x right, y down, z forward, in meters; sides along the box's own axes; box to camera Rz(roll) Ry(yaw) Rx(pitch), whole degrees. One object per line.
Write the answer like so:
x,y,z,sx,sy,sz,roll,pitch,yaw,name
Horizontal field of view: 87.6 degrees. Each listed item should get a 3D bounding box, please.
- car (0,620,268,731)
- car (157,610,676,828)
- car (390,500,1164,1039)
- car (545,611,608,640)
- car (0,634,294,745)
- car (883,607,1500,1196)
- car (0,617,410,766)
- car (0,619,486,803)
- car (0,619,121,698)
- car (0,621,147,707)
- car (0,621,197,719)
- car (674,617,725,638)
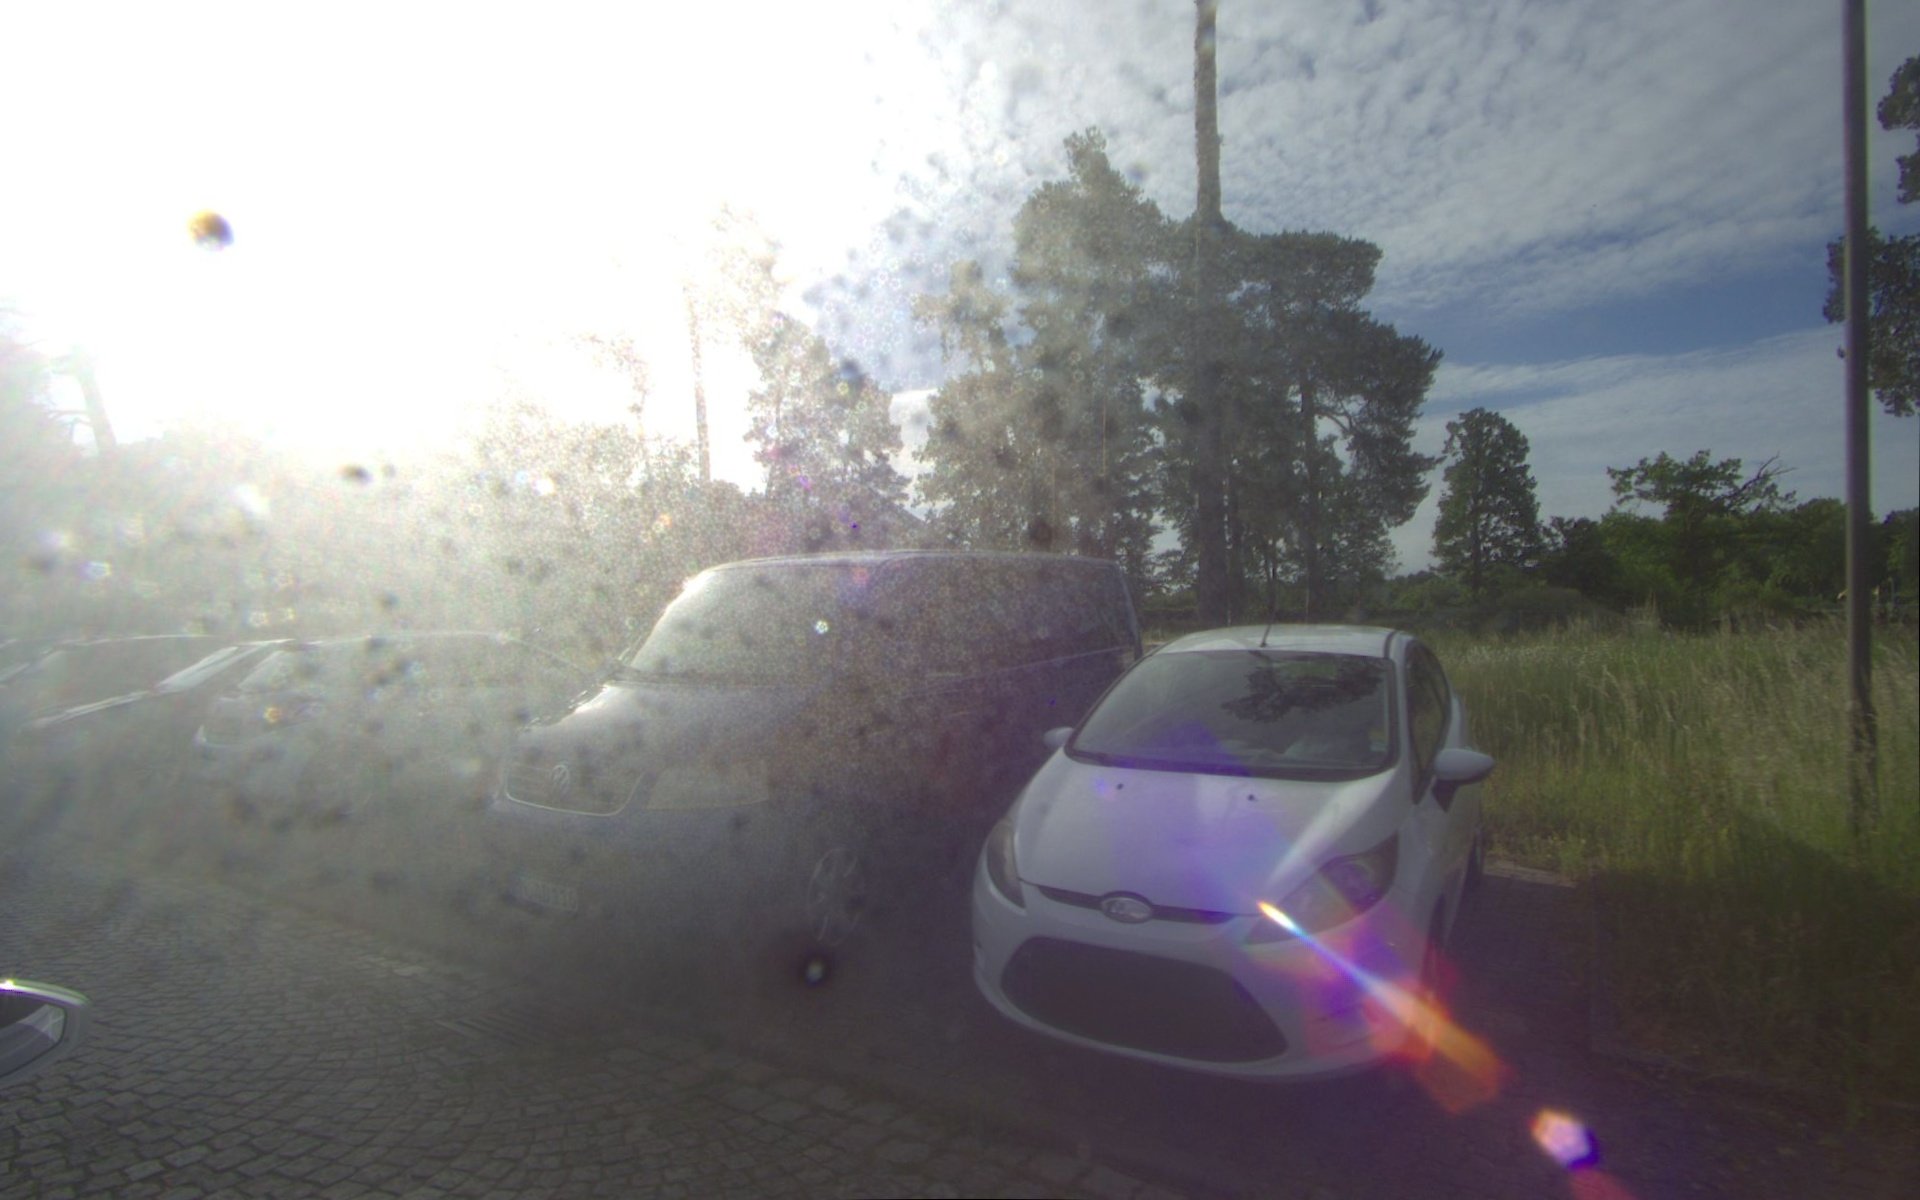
-13.501,1.105,15.445,1.715,1.493,4.331,-2,-1,33,car
-4.776,0.898,9.335,1.783,1.550,3.865,-2,-1,33,car
-0.553,0.598,6.151,1.964,1.954,4.721,-1,0,32,car
-35.201,2.323,92.029,2.234,2.568,5.145,-2,-2,34,car
-11.762,1.165,13.817,1.703,1.277,3.941,-2,-1,33,car
1.541,0.807,4.824,1.781,1.489,4.185,-2,-1,29,car
-9.413,1.015,12.659,1.748,1.514,3.941,-2,-1,33,car
-7.361,0.985,10.525,1.805,1.486,3.941,-2,-1,33,car
-19.733,1.177,19.743,1.905,1.525,4.536,-2,-1,31,car
-17.769,1.167,18.014,1.867,1.493,4.501,-2,-1,29,car
-15.548,1.132,16.403,1.824,1.493,4.496,-2,-1,33,car
-21.715,2.321,83.632,1.830,1.701,3.926,-1,-2,31,car
